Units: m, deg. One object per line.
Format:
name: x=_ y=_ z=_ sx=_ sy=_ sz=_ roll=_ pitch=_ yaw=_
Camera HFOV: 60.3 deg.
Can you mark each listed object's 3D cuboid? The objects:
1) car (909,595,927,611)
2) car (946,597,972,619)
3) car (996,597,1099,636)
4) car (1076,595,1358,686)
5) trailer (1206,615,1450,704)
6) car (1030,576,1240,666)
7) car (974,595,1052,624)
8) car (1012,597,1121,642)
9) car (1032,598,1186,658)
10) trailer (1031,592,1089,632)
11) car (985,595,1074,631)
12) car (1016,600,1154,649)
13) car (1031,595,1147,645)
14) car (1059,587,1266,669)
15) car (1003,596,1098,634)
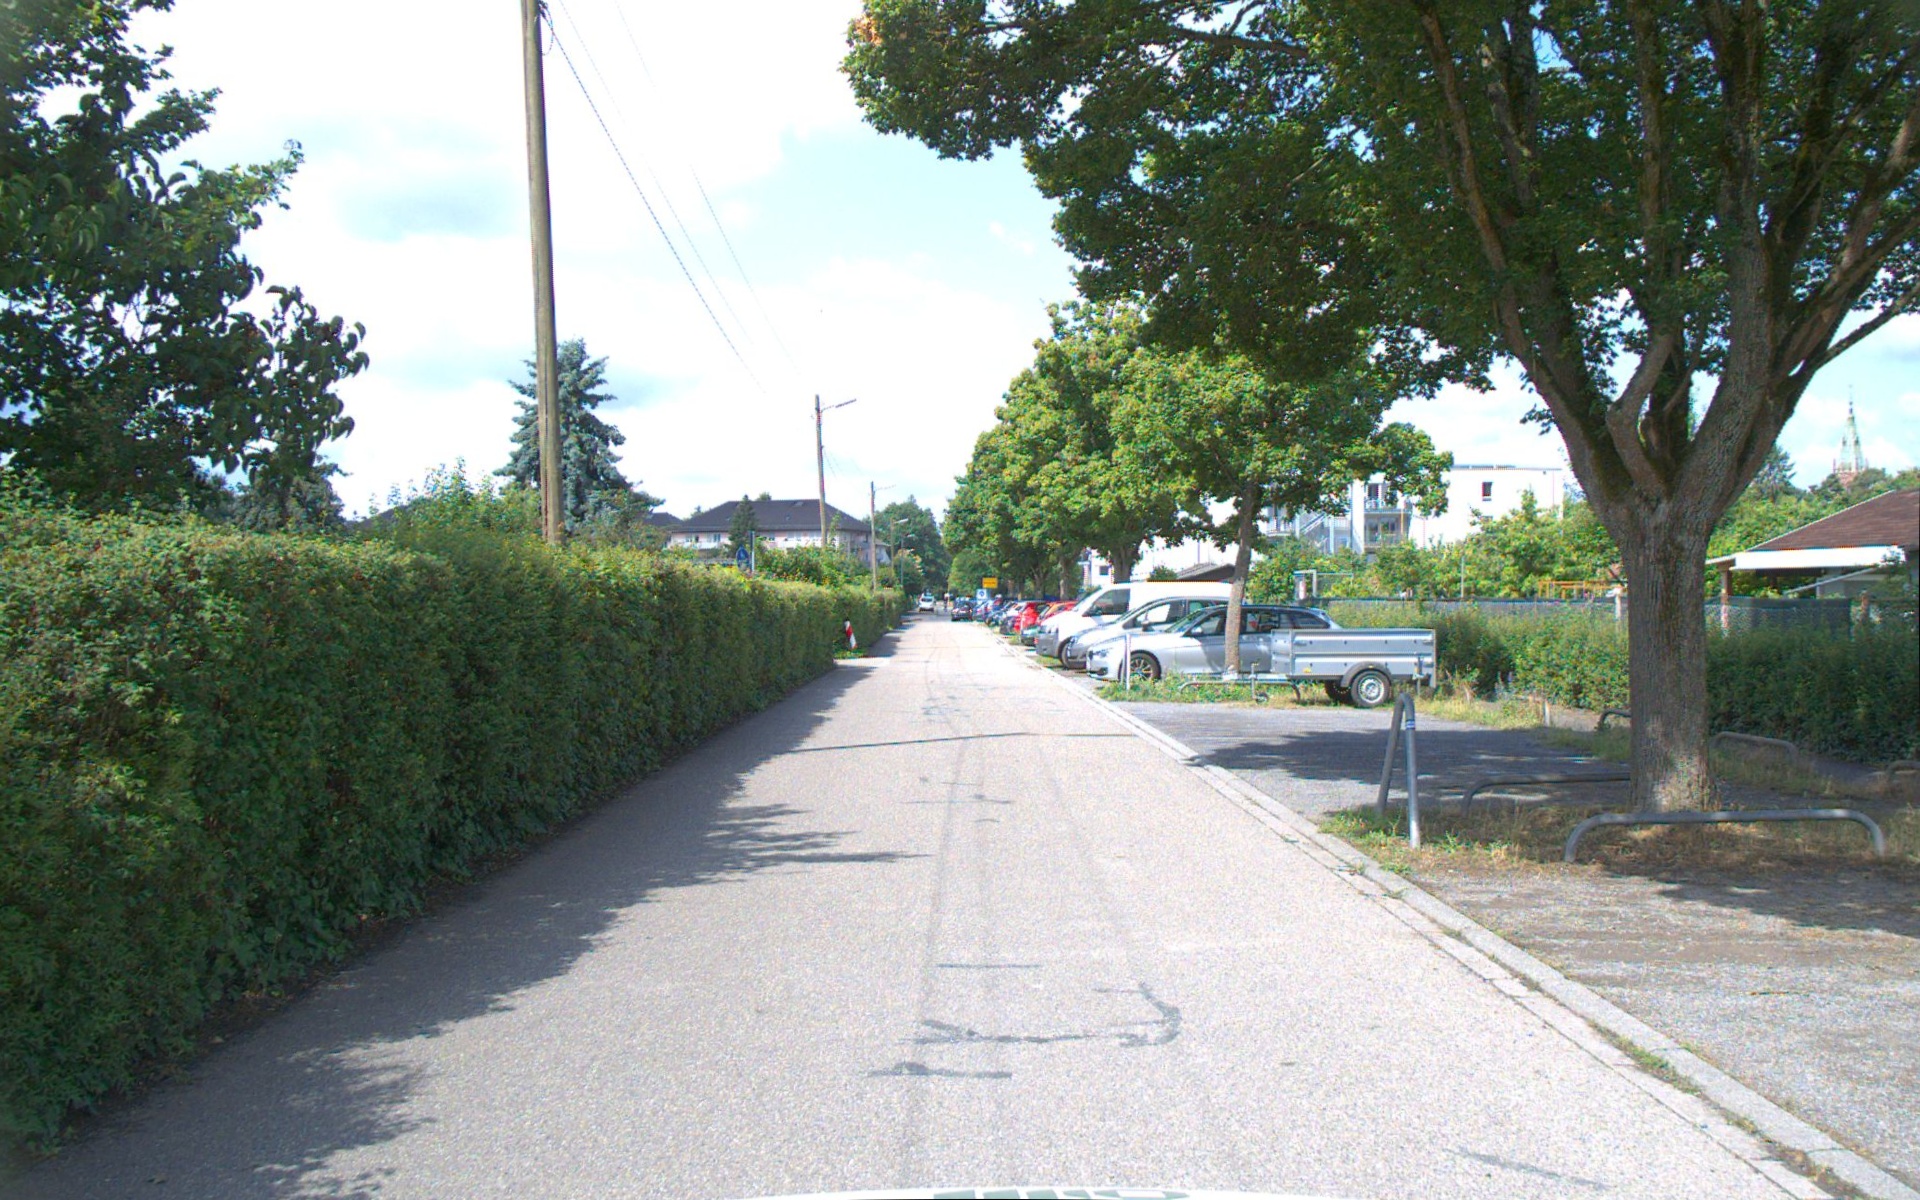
car: x=-4.859 y=0.352 z=191.053 sx=1.863 sy=1.846 sz=4.001 roll=1 pitch=0 yaw=2
car: x=-0.040 y=0.595 z=122.544 sx=1.628 sy=1.532 sz=4.002 roll=1 pitch=0 yaw=4
car: x=3.545 y=0.678 z=67.274 sx=3.984 sy=1.481 sz=1.869 roll=1 pitch=-1 yaw=-3
car: x=4.354 y=0.672 z=28.508 sx=4.488 sy=1.491 sz=1.998 roll=0 pitch=0 yaw=-4
trailer: x=5.220 y=0.830 z=23.789 sx=3.037 sy=1.162 sz=2.000 roll=1 pitch=0 yaw=-1
car: x=3.983 y=0.459 z=38.204 sx=4.541 sy=1.919 sz=2.110 roll=-1 pitch=0 yaw=-3
car: x=3.118 y=0.550 z=97.784 sx=4.457 sy=1.606 sz=1.808 roll=1 pitch=-1 yaw=-2
car: x=3.891 y=0.703 z=60.598 sx=3.904 sy=1.546 sz=1.855 roll=1 pitch=-1 yaw=2
car: x=4.094 y=0.771 z=45.853 sx=4.097 sy=1.530 sz=1.878 roll=1 pitch=-1 yaw=0
trailer: x=4.539 y=0.528 z=75.092 sx=2.402 sy=1.750 sz=1.517 roll=1 pitch=0 yaw=-5
car: x=3.355 y=0.630 z=80.542 sx=4.215 sy=1.622 sz=1.999 roll=1 pitch=-1 yaw=-2
car: x=3.981 y=0.783 z=53.074 sx=4.155 sy=1.453 sz=1.906 roll=1 pitch=-1 yaw=-5
car: x=4.325 y=0.664 z=55.805 sx=3.688 sy=1.601 sz=1.869 roll=1 pitch=-1 yaw=-2
car: x=4.288 y=0.582 z=35.464 sx=4.157 sy=1.620 sz=2.000 roll=-1 pitch=0 yaw=-1
car: x=3.847 y=0.630 z=70.886 sx=3.980 sy=1.538 sz=1.958 roll=1 pitch=-1 yaw=2
